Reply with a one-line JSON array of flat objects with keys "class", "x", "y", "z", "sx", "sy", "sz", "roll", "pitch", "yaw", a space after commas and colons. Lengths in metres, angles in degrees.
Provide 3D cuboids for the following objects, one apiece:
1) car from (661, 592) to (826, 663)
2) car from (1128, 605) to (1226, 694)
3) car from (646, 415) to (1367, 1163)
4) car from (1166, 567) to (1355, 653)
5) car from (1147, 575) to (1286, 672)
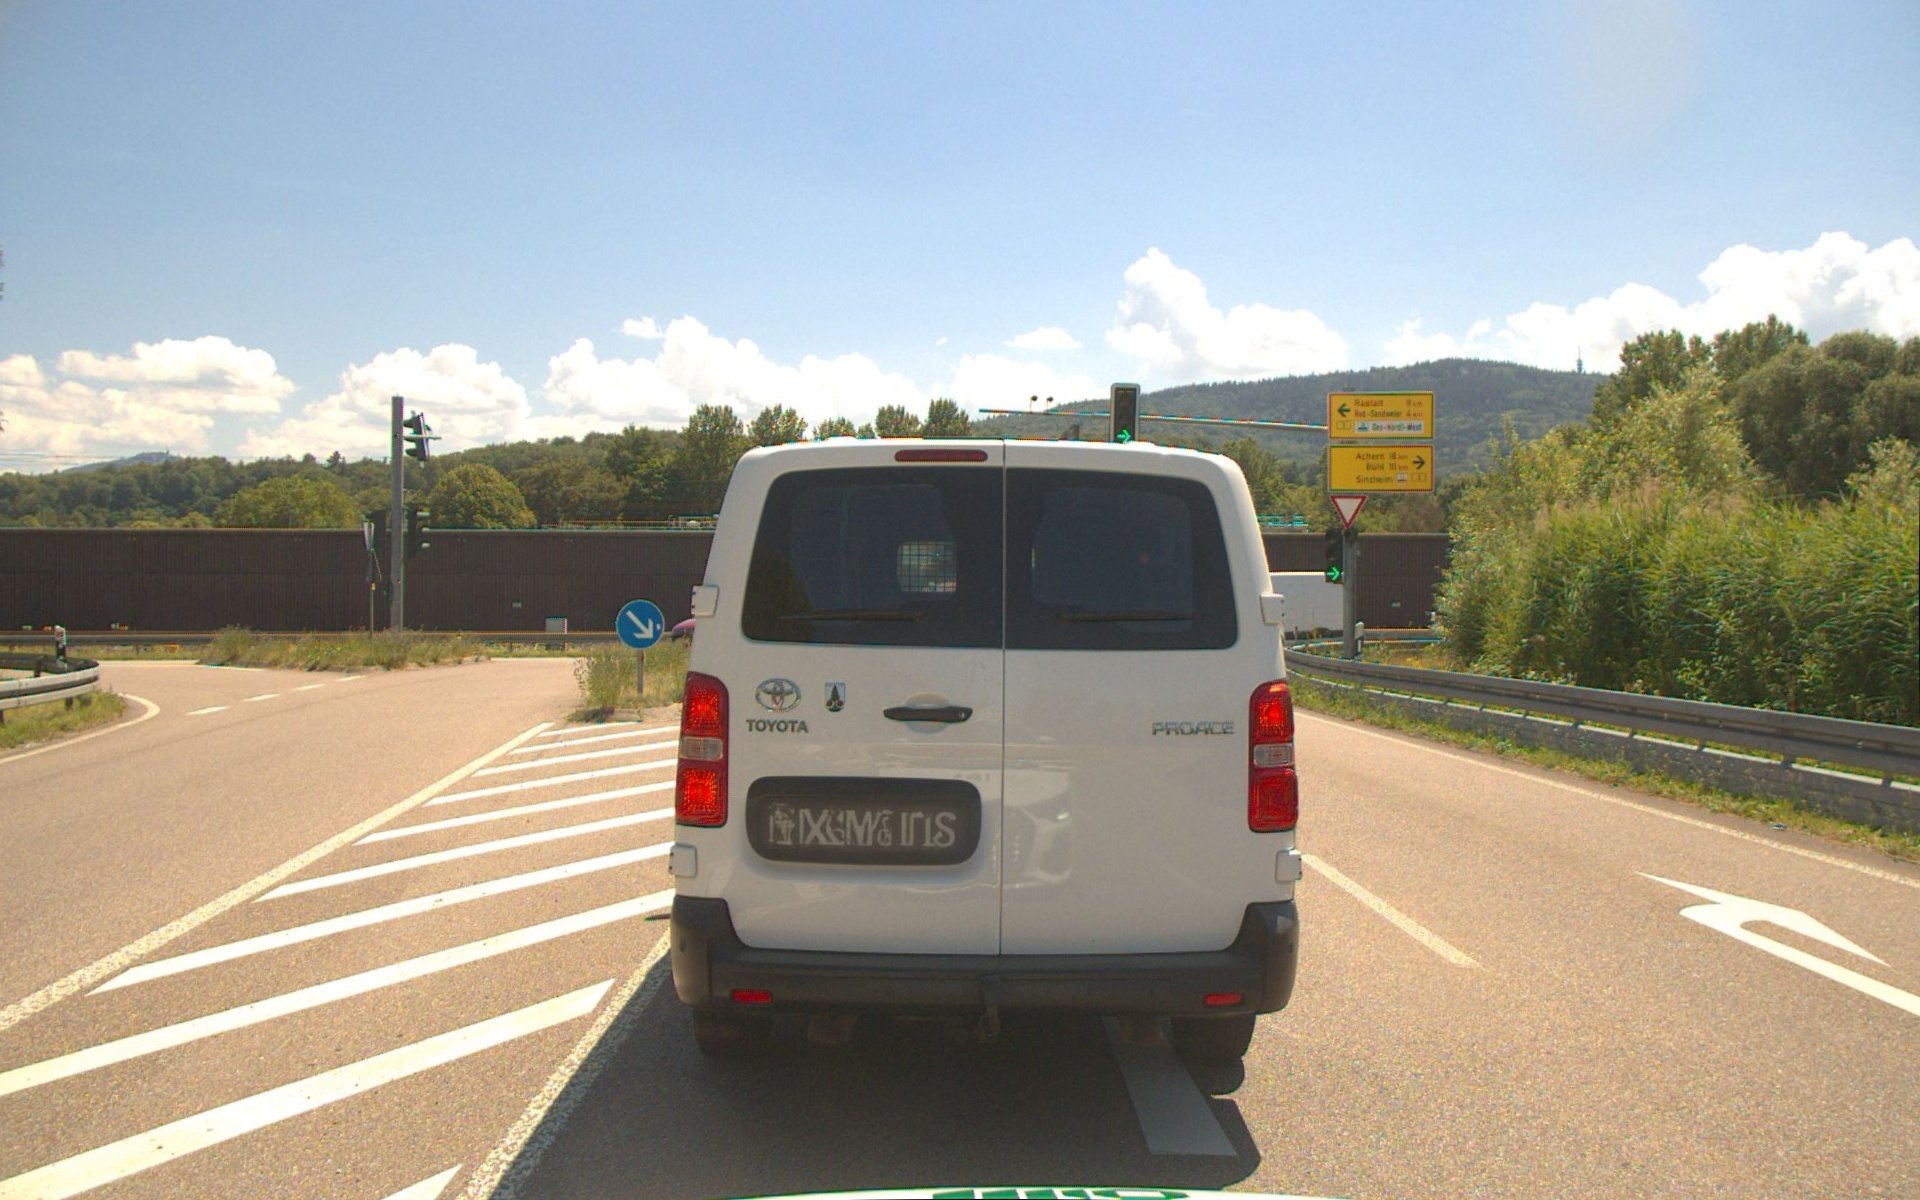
[{"class": "car", "x": -5.443, "y": 0.671, "z": 42.097, "sx": 1.956, "sy": 1.685, "sz": 4.316, "roll": 0, "pitch": 0, "yaw": 30}, {"class": "car", "x": 3.853, "y": 0.839, "z": 29.407, "sx": 1.620, "sy": 1.456, "sz": 3.368, "roll": 1, "pitch": 0, "yaw": 7}, {"class": "car", "x": 0.081, "y": 0.504, "z": 6.284, "sx": 1.848, "sy": 1.919, "sz": 3.999, "roll": 1, "pitch": 0, "yaw": -1}, {"class": "car", "x": 8.901, "y": 0.285, "z": 49.283, "sx": 5.238, "sy": 2.493, "sz": 2.038, "roll": 0, "pitch": 0, "yaw": -4}, {"class": "car", "x": 5.931, "y": 0.518, "z": 37.779, "sx": 1.890, "sy": 2.035, "sz": 4.834, "roll": 1, "pitch": 0, "yaw": 25}]
